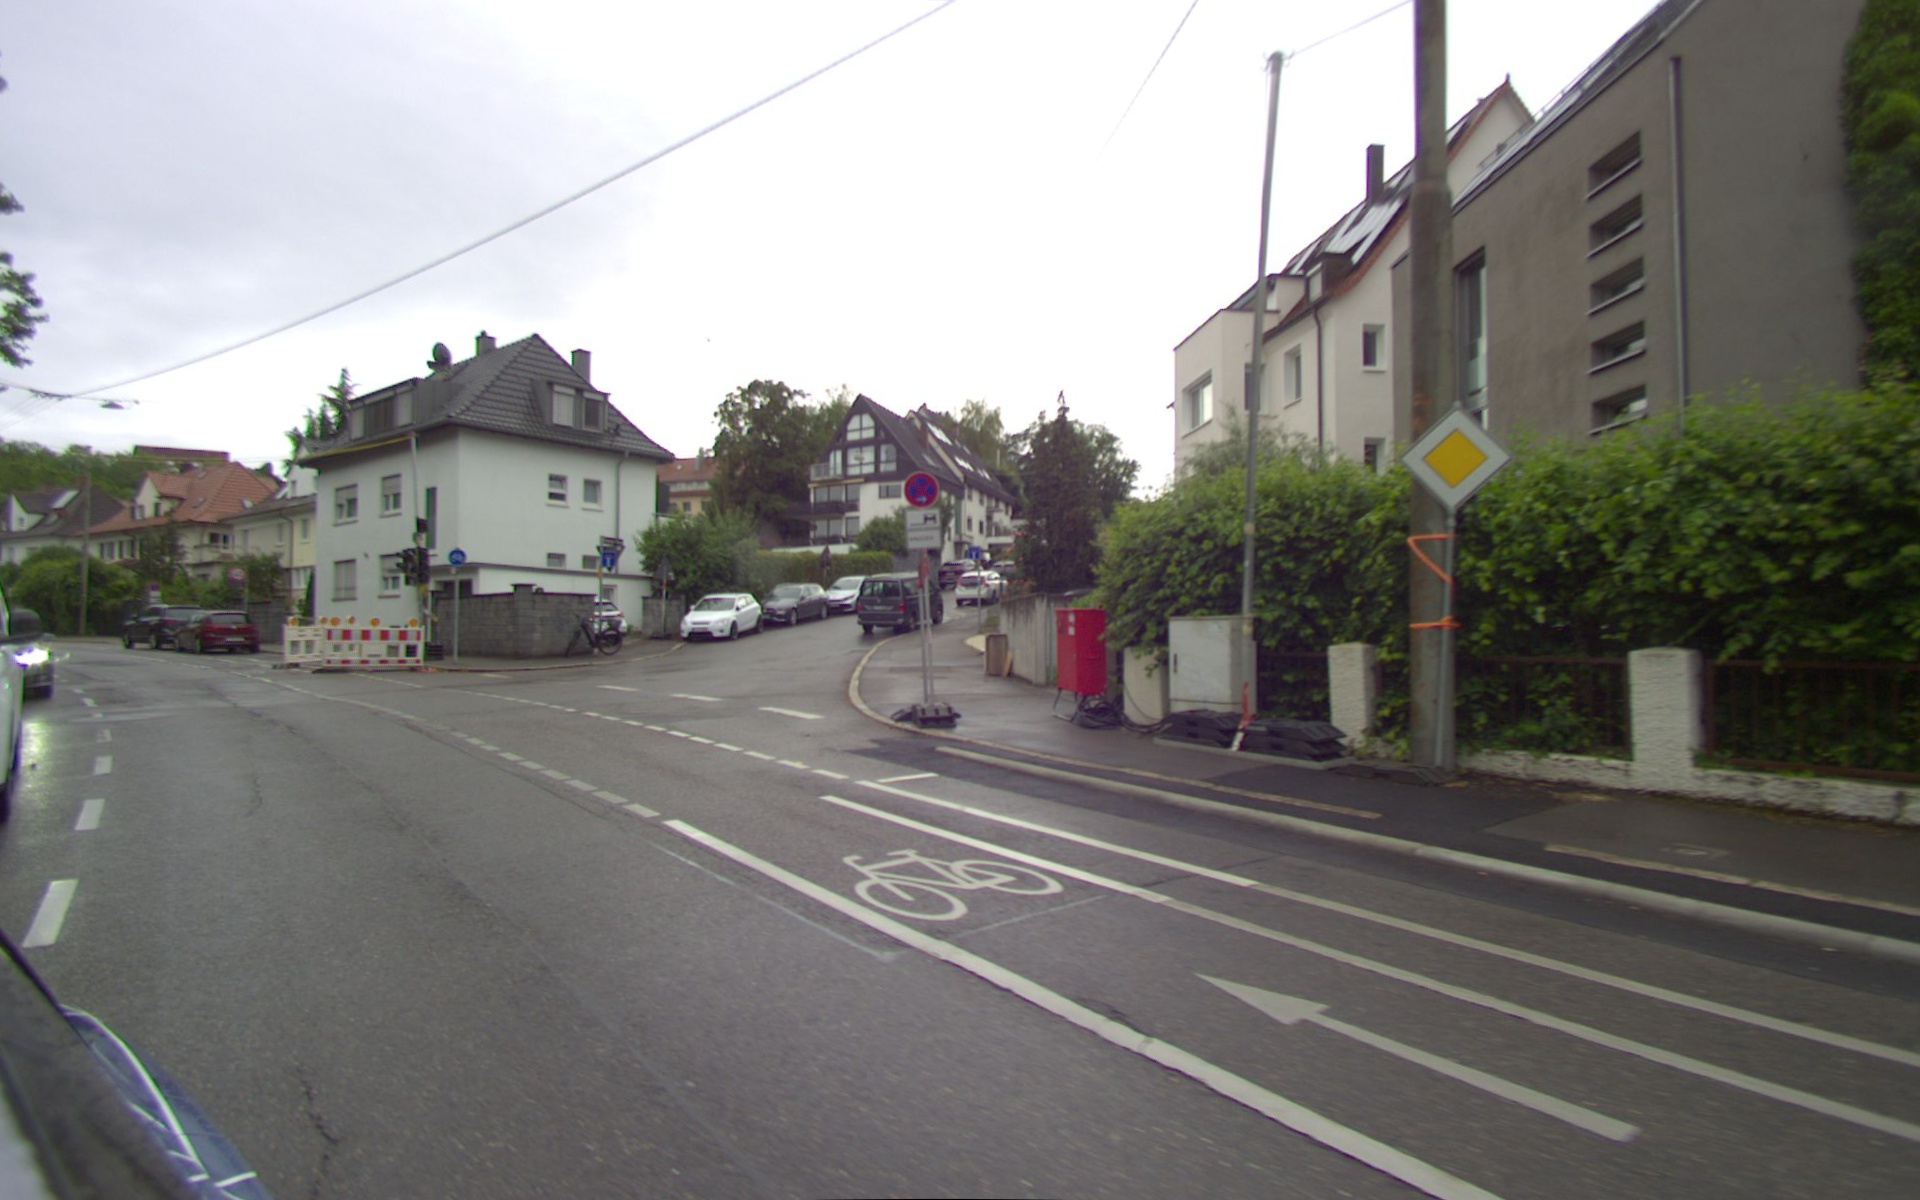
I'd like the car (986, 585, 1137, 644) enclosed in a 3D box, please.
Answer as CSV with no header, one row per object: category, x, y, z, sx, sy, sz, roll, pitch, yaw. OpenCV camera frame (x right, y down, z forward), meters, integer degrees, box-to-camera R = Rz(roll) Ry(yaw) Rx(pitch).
car,2.789,0.382,28.313,3.862,1.342,1.570,-4,0,-6

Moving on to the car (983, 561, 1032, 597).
car,2.497,-1.102,52.039,1.571,1.479,3.541,-1,5,19

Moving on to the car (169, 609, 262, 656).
car,-25.702,1.150,34.899,3.796,1.505,1.872,-3,-3,42

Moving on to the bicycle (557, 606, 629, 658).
bicycle,-9.903,0.839,27.330,0.707,1.321,1.708,0,0,43

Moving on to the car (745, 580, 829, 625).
car,-6.789,0.056,40.091,1.690,1.476,3.834,-2,3,17

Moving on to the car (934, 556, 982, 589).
car,-0.078,-1.648,59.586,1.327,1.566,3.957,-1,6,23

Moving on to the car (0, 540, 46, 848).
car,-7.734,0.587,6.858,2.015,1.908,5.218,-1,0,-39

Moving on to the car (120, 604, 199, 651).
car,-29.909,1.037,37.775,4.004,1.601,1.647,-3,-2,42

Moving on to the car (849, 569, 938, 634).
car,-2.340,0.003,36.580,1.899,1.950,3.777,-1,5,18

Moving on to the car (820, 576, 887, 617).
car,-4.695,-0.179,44.963,1.569,1.476,3.835,-1,5,17

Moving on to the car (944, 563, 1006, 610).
car,0.754,-0.656,47.021,1.906,1.850,3.394,-1,5,18

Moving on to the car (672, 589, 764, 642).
car,-8.143,0.470,34.376,1.731,1.476,3.551,-2,3,10
